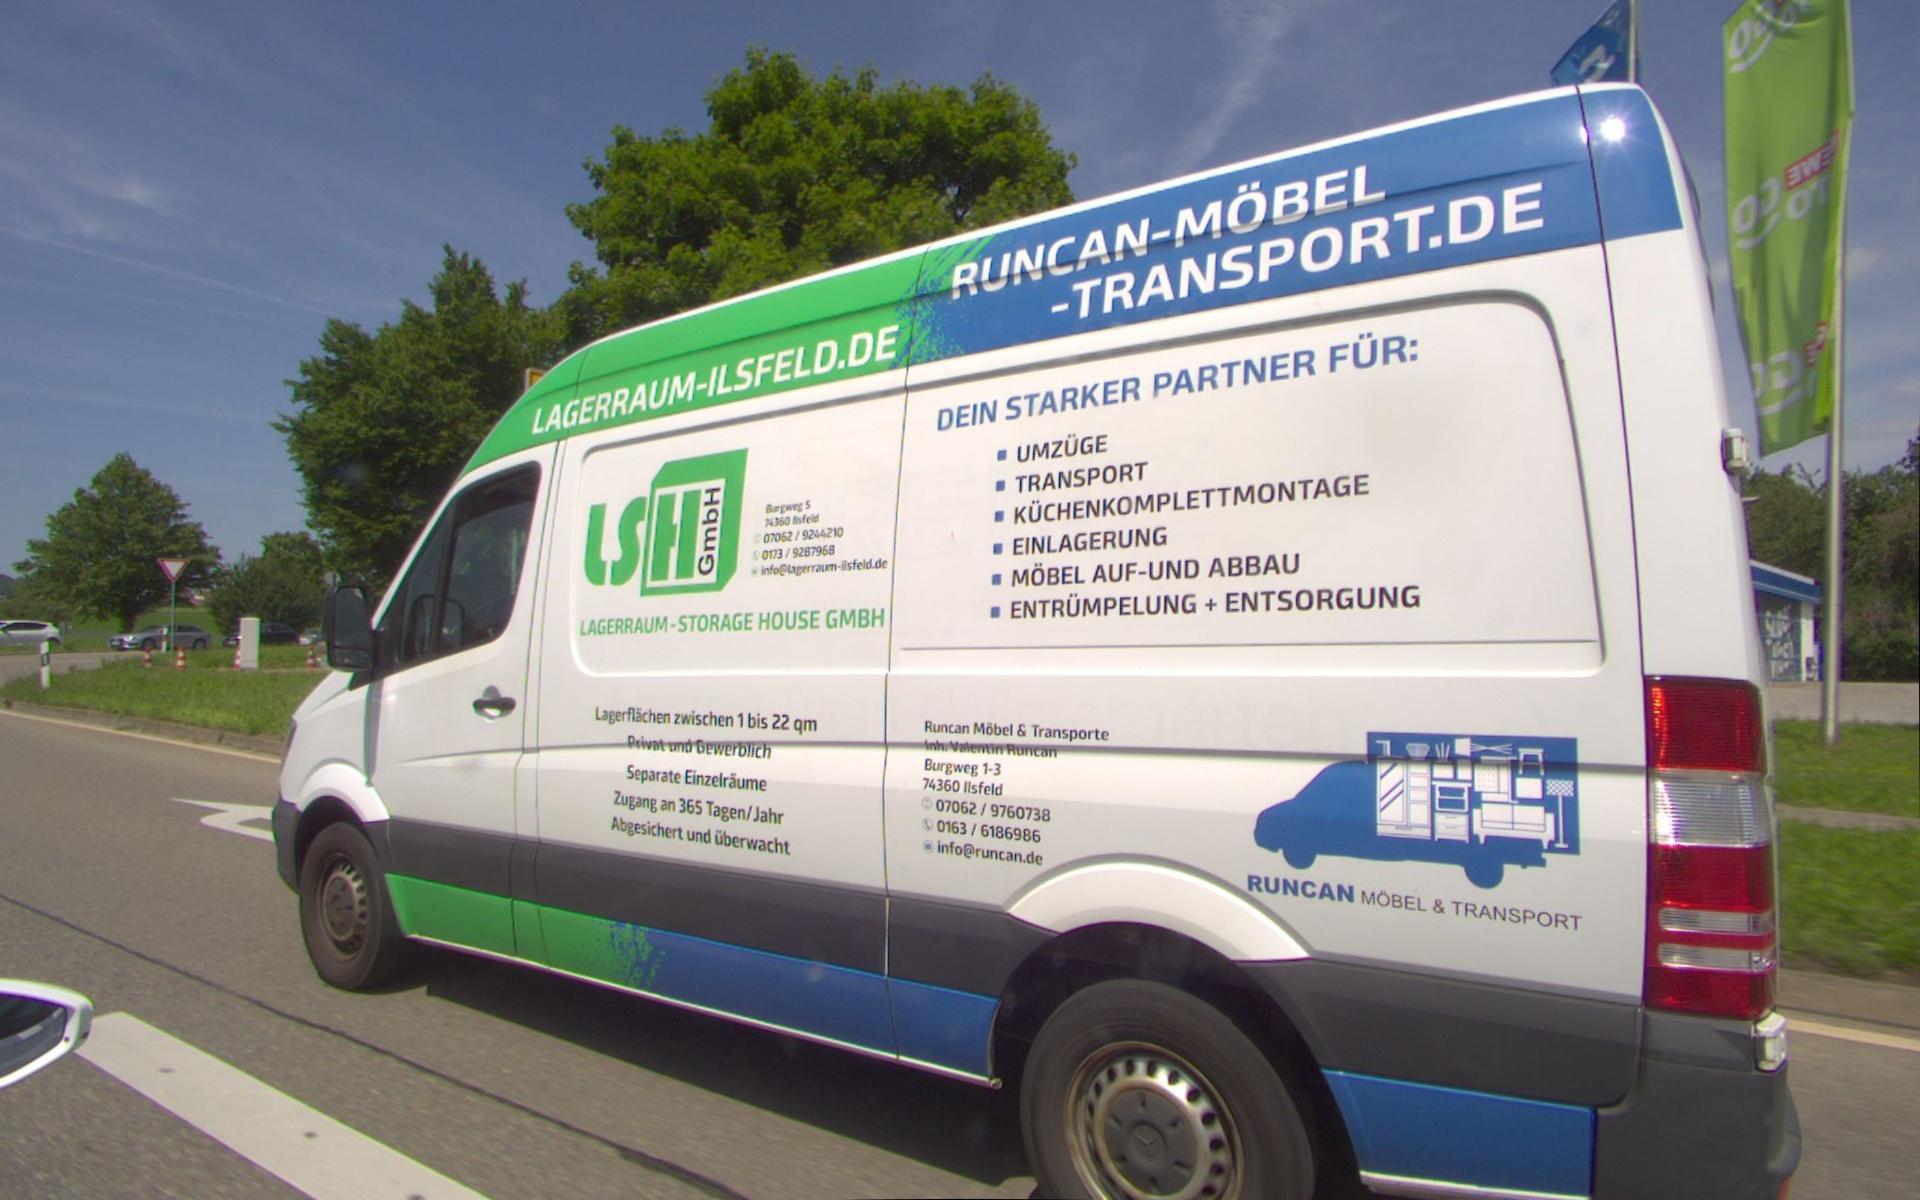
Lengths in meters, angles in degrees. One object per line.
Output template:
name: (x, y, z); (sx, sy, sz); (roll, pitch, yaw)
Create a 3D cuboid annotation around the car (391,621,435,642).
car: (-41.744, 2.435, 76.485); (1.767, 1.529, 4.231); (0, -2, -12)

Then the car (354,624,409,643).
car: (-40.527, 2.346, 70.292); (1.766, 1.289, 4.562); (0, -2, -8)

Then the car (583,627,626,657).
car: (-17.638, 2.071, 49.586); (1.732, 1.380, 4.307); (0, -2, -24)

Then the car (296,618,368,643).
car: (-39.783, 1.969, 63.563); (1.766, 1.529, 4.564); (0, -2, 0)

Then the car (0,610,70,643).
car: (-42.447, 1.192, 44.473); (1.767, 1.437, 4.104); (-1, -1, 12)

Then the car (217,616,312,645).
car: (-39.589, 1.765, 57.126); (1.766, 1.528, 4.565); (-1, -3, 9)

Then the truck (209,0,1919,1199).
truck: (-0.442, 0.200, 3.903); (5.859, 2.772, 2.063); (-1, -1, 33)

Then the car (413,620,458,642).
car: (-42.689, 2.553, 81.617); (1.962, 1.719, 4.291); (0, -2, -9)

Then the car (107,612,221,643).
car: (-40.606, 1.447, 51.237); (1.766, 1.529, 4.563); (-1, -3, 9)
